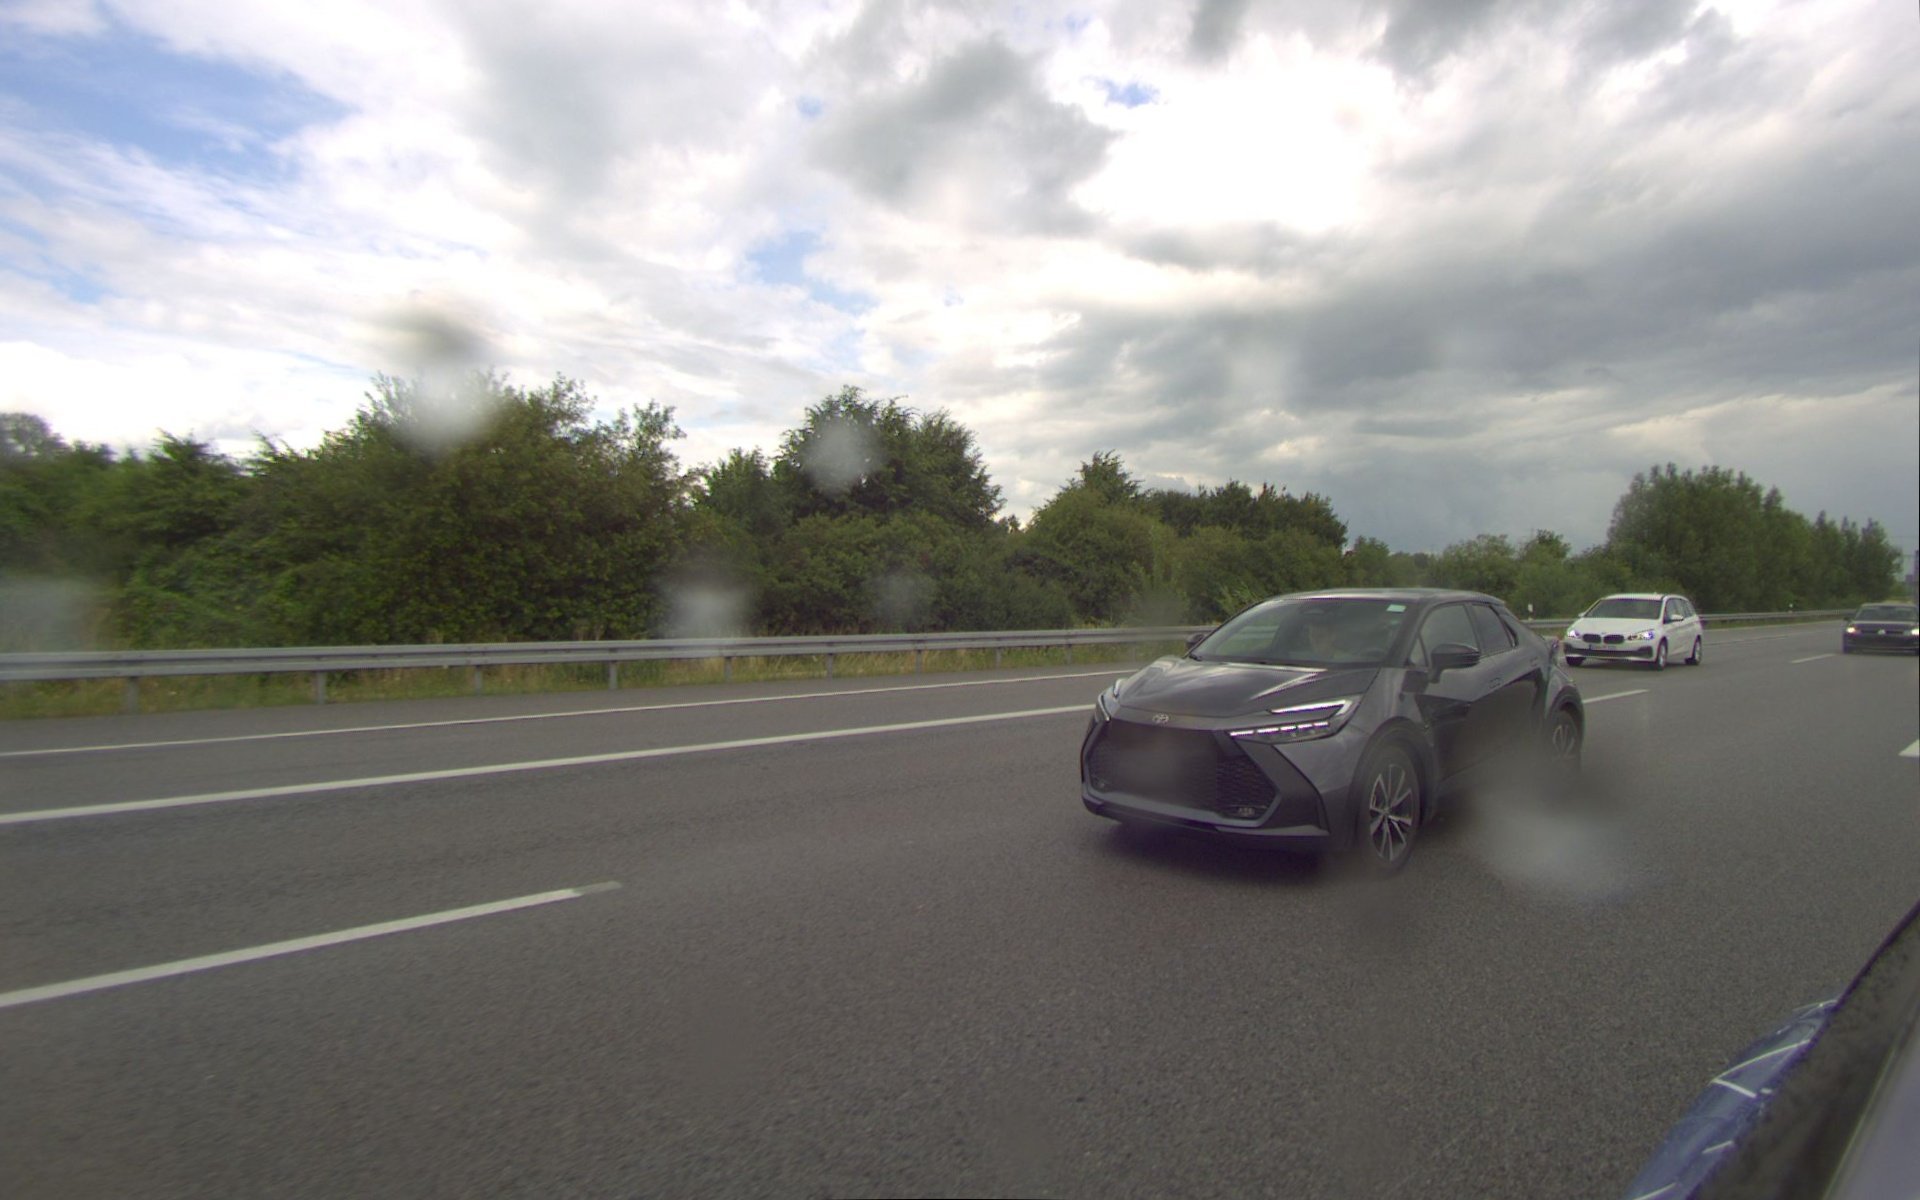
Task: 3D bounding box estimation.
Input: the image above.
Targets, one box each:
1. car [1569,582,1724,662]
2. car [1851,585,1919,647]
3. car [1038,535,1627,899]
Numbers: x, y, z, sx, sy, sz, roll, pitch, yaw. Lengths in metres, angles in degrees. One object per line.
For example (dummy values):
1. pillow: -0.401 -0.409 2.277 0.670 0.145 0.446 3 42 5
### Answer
1. car: 15.399 0.429 22.606 4.615 1.619 1.813 0 1 -42
2. car: 26.761 0.418 28.579 4.377 1.651 1.710 0 1 -39
3. car: 2.724 0.510 6.733 4.519 1.633 1.783 0 1 -42
